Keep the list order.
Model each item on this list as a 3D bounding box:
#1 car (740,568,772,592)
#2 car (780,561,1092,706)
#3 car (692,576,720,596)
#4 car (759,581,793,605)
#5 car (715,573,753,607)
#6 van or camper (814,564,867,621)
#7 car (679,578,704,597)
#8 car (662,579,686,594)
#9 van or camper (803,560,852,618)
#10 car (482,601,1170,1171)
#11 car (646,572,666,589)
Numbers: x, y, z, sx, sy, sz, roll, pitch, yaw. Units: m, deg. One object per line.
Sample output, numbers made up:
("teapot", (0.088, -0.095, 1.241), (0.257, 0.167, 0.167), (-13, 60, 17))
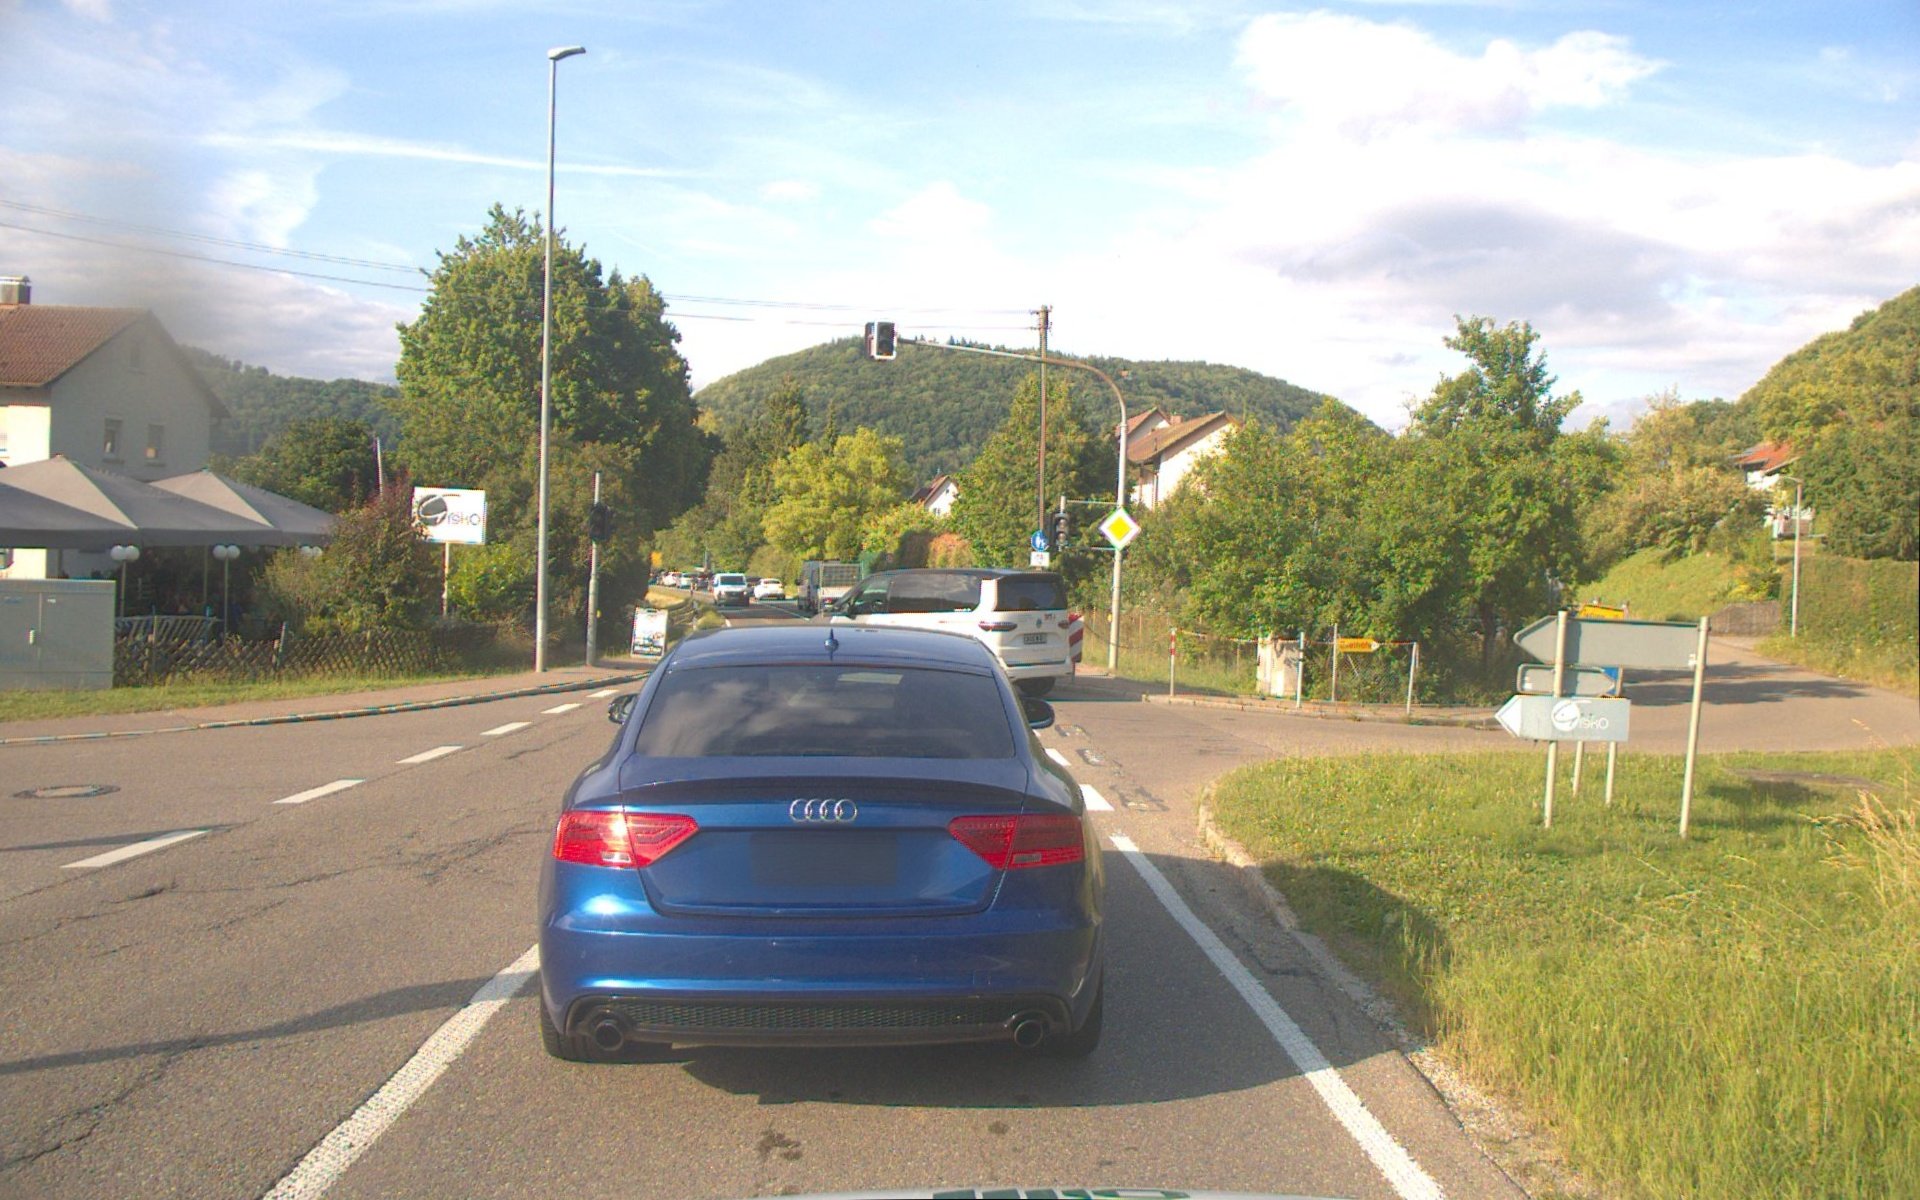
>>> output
("car", (-15.260, -1.495, 123.586), (1.767, 1.825, 3.982), (0, 1, -16))
("car", (-0.459, 0.453, 25.802), (4.786, 1.909, 1.987), (4, 2, 43))
("car", (-22.691, -1.262, 147.732), (2.007, 1.713, 3.983), (1, 1, -16))
("car", (-12.451, -0.478, 111.793), (1.788, 1.579, 3.986), (0, 1, -14))
("car", (-13.545, -0.632, 98.854), (1.958, 1.937, 5.239), (-1, 1, -11))
("van or camper", (-5.391, -0.364, 73.865), (2.138, 2.426, 5.362), (0, 1, -7))
("car", (-25.371, -1.183, 155.979), (1.910, 1.713, 3.983), (0, 0, -16))
("car", (-28.496, -1.392, 164.821), (1.910, 1.449, 3.983), (0, 1, -16))
("van or camper", (-7.063, -0.622, 87.598), (2.369, 2.955, 6.123), (0, 1, -7))
("car", (-0.429, 0.745, 6.457), (1.793, 1.433, 4.224), (0, 0, -2))
("car", (-32.531, -2.101, 177.174), (1.743, 1.814, 3.983), (0, 1, -16))
